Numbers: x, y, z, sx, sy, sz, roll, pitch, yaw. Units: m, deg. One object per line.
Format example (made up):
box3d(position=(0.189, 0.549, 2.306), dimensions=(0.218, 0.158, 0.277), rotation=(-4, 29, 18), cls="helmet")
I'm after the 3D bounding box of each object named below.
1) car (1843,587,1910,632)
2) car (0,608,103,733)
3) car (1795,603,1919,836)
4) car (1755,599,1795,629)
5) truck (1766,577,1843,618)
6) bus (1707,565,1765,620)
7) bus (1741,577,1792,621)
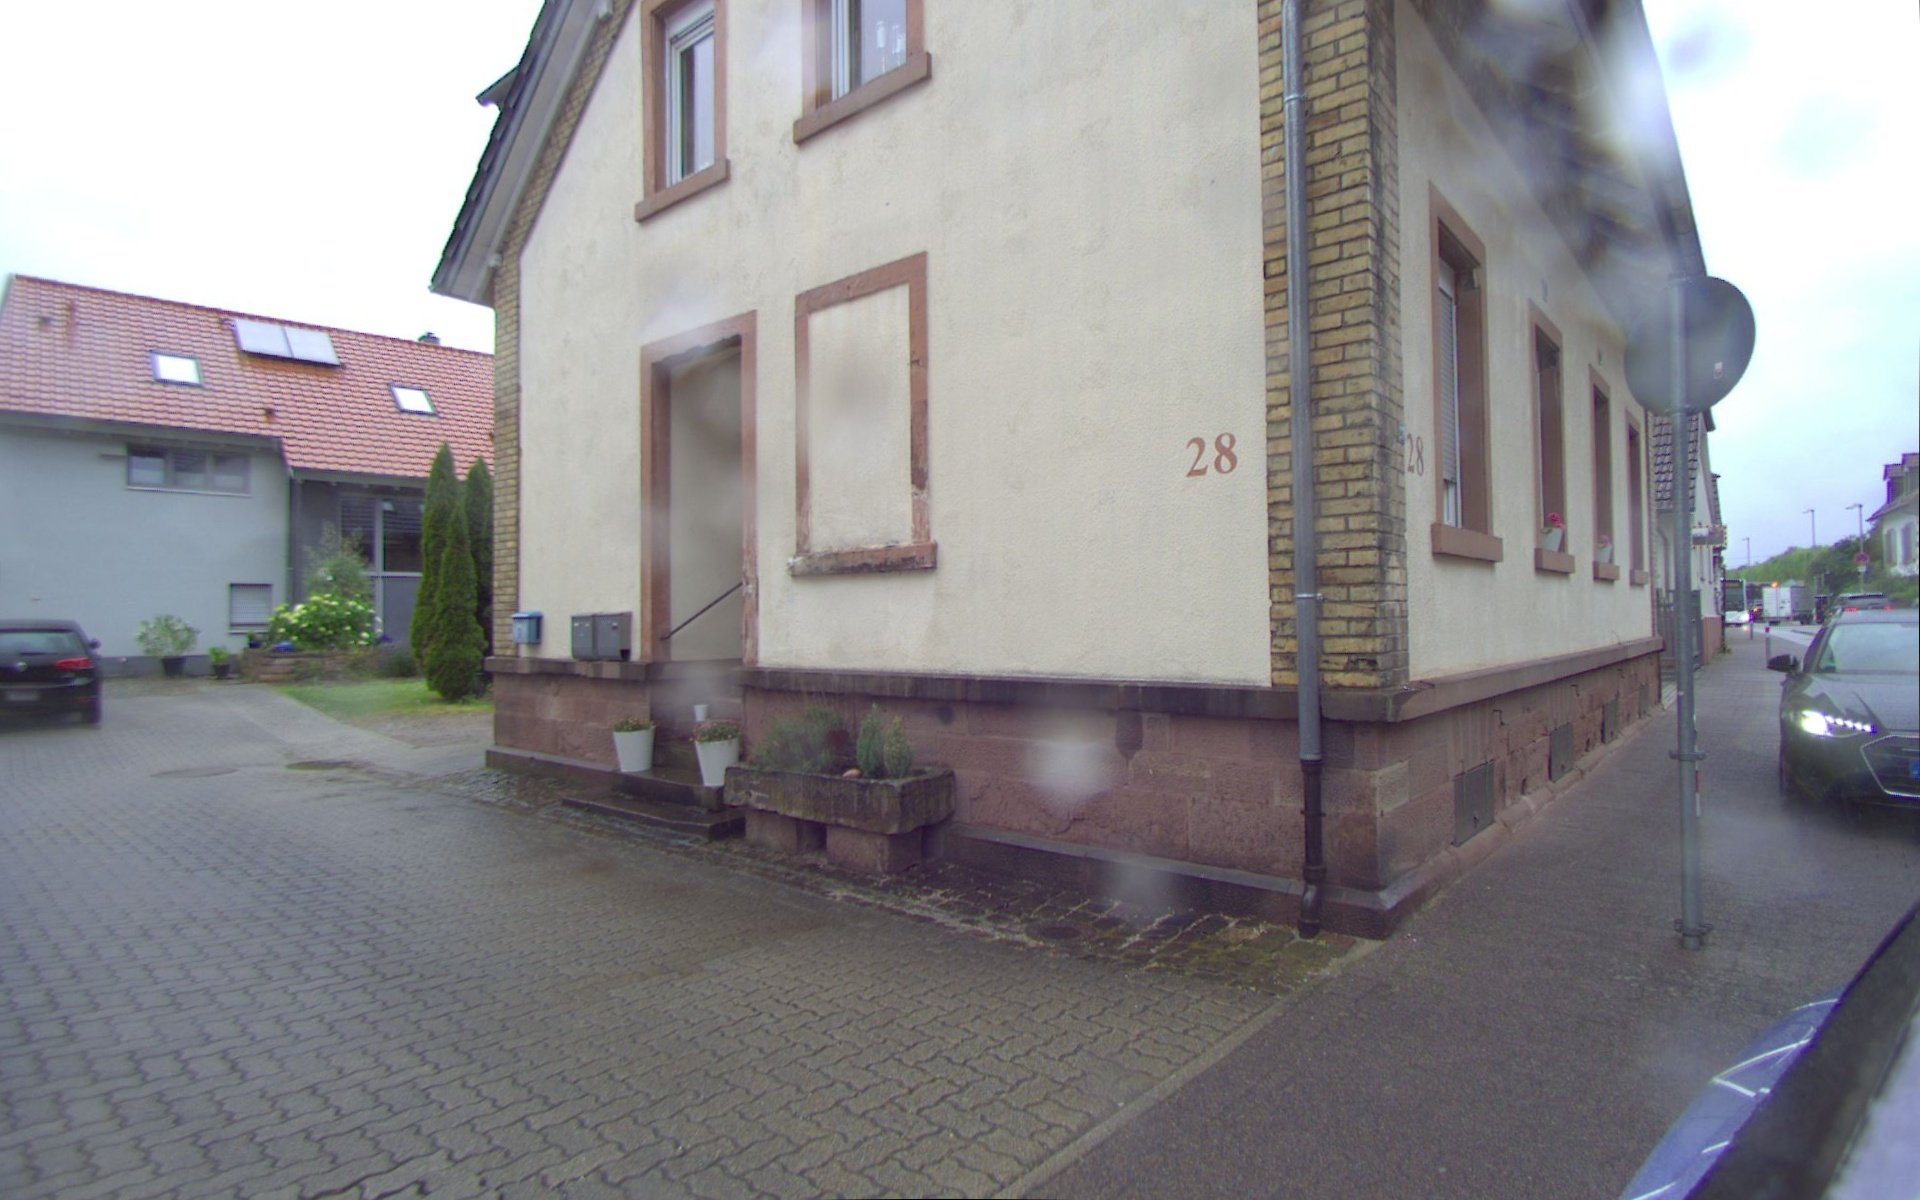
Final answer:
box3d(position=(37.495, 0.368, 41.482), dimensions=(1.777, 1.686, 4.363), rotation=(-3, -1, 40), cls="car")
box3d(position=(-13.946, 0.952, 15.108), dimensions=(1.656, 1.491, 3.993), rotation=(0, 2, -42), cls="car")
box3d(position=(7.368, 0.735, 7.539), dimensions=(1.732, 1.388, 4.044), rotation=(0, 0, 39), cls="car")
box3d(position=(58.618, 0.973, 72.811), dimensions=(1.987, 2.039, 3.949), rotation=(0, 0, 36), cls="car")
box3d(position=(53.684, -0.177, 64.293), dimensions=(5.537, 2.536, 2.002), rotation=(-1, 0, -30), cls="truck")
box3d(position=(49.718, -0.510, 65.018), dimensions=(2.654, 3.273, 12.032), rotation=(0, 0, 36), cls="bus")
box3d(position=(64.357, -0.135, 80.902), dimensions=(2.654, 3.273, 12.032), rotation=(0, 0, 36), cls="bus")
